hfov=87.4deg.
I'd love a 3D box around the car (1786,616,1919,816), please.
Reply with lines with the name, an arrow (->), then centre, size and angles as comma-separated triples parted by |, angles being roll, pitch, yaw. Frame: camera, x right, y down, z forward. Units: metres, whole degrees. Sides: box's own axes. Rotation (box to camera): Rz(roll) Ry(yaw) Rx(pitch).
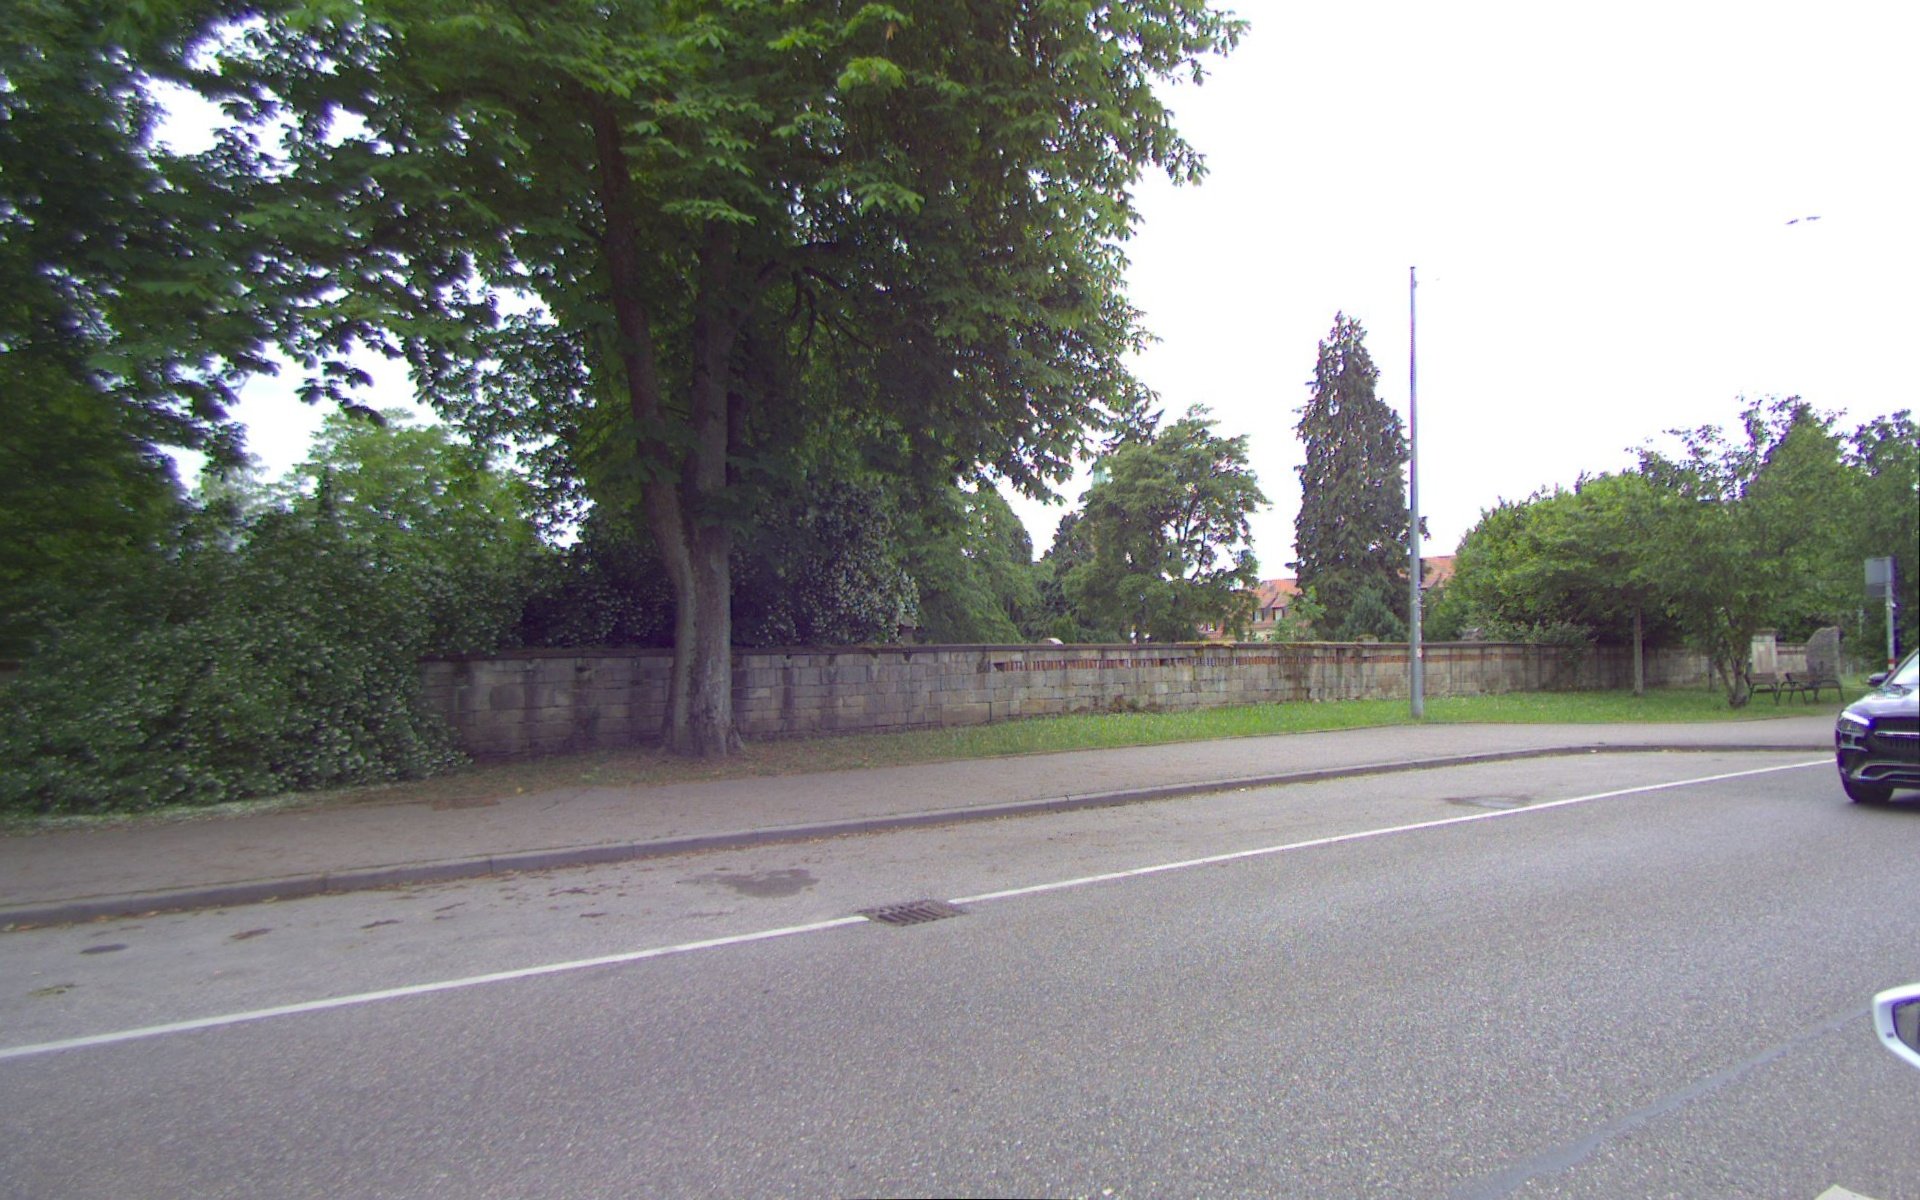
car -> 9.965, 1.022, 9.537 | 4.255, 1.678, 1.851 | 1, -5, -30
